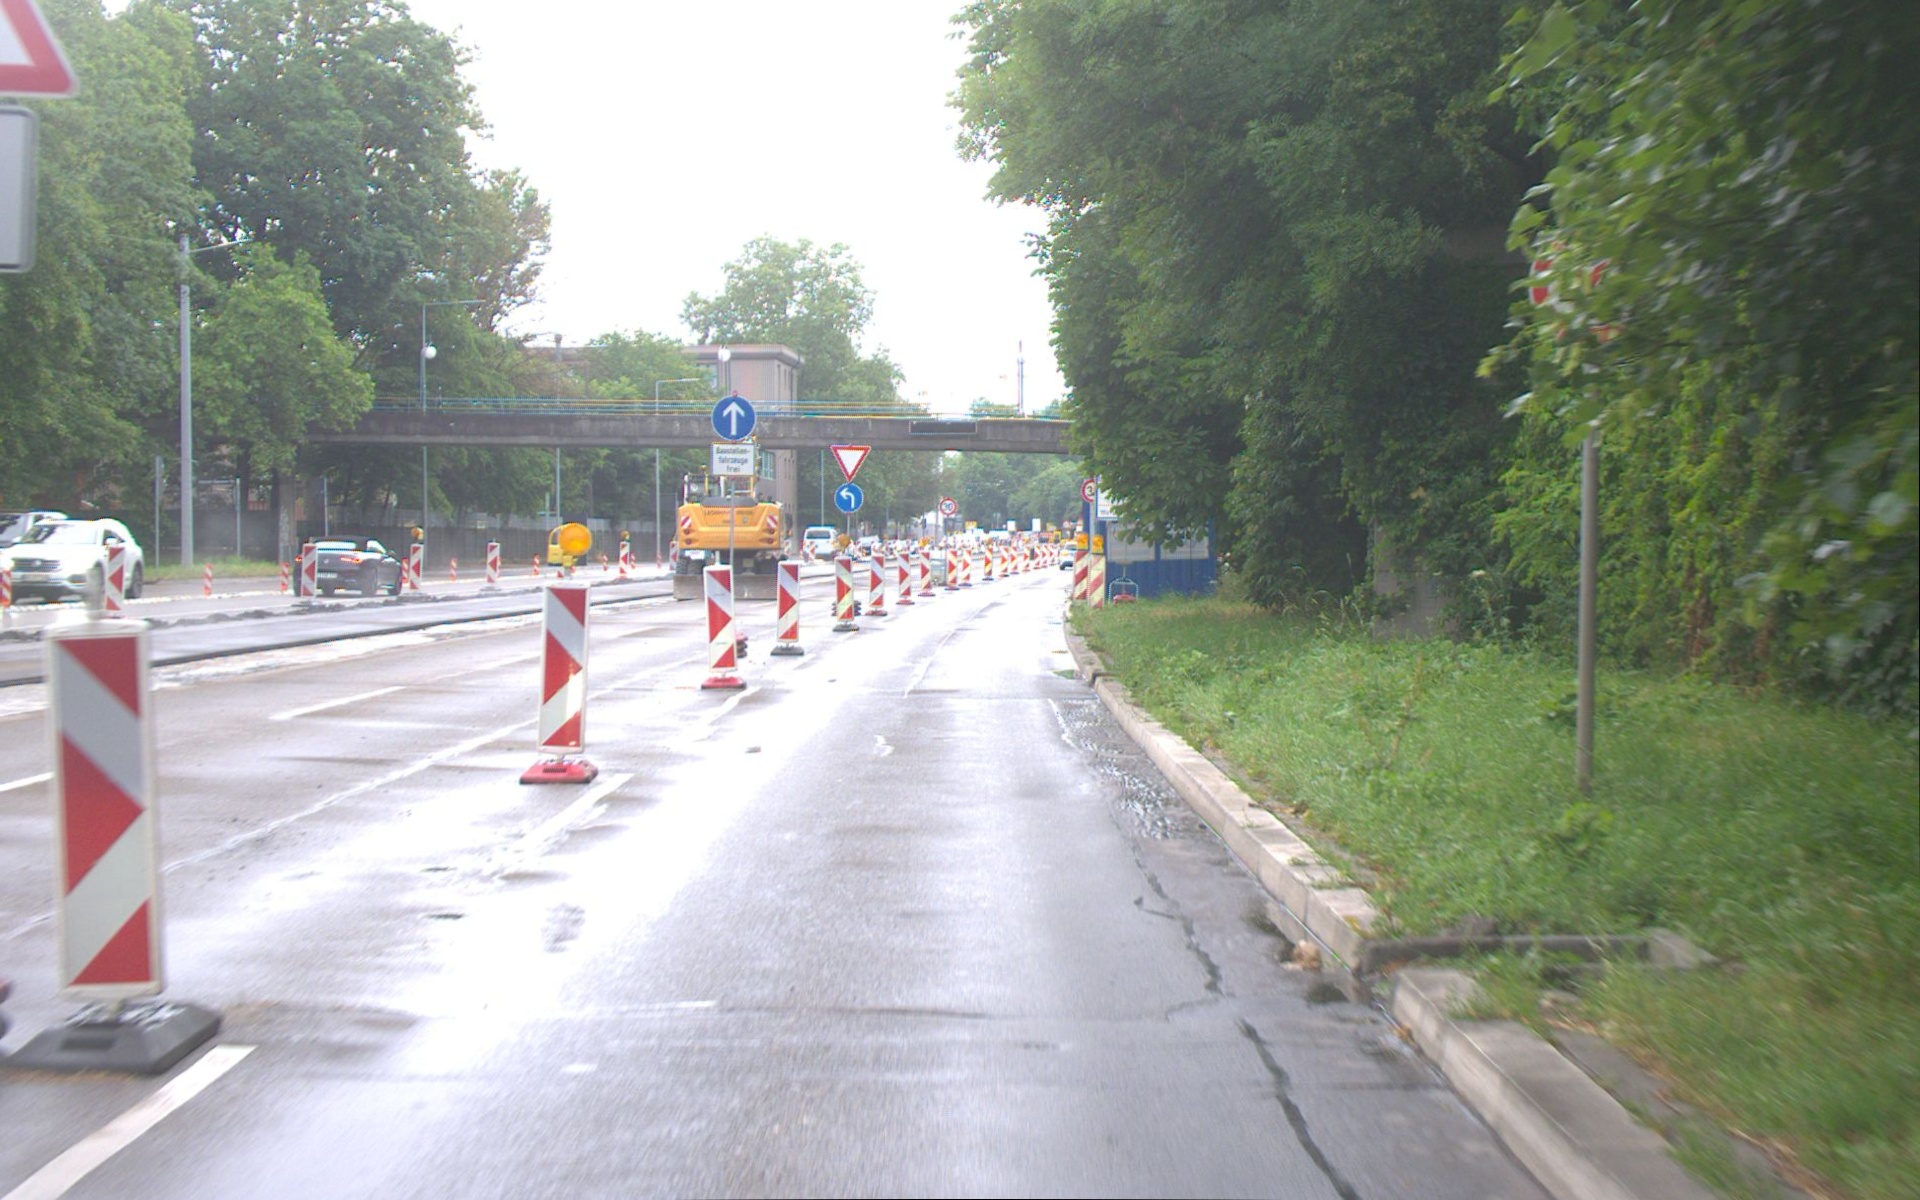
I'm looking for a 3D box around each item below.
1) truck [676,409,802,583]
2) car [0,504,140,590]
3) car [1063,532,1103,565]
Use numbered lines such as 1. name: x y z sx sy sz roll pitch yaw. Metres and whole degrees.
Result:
1. truck: -5.690 -2.687 90.035 2.897 4.244 10.757 1 1 -2
2. car: -18.074 -1.081 69.389 1.890 1.655 4.894 1 1 0
3. car: 6.388 -2.682 178.230 1.994 1.634 4.000 -1 1 3
